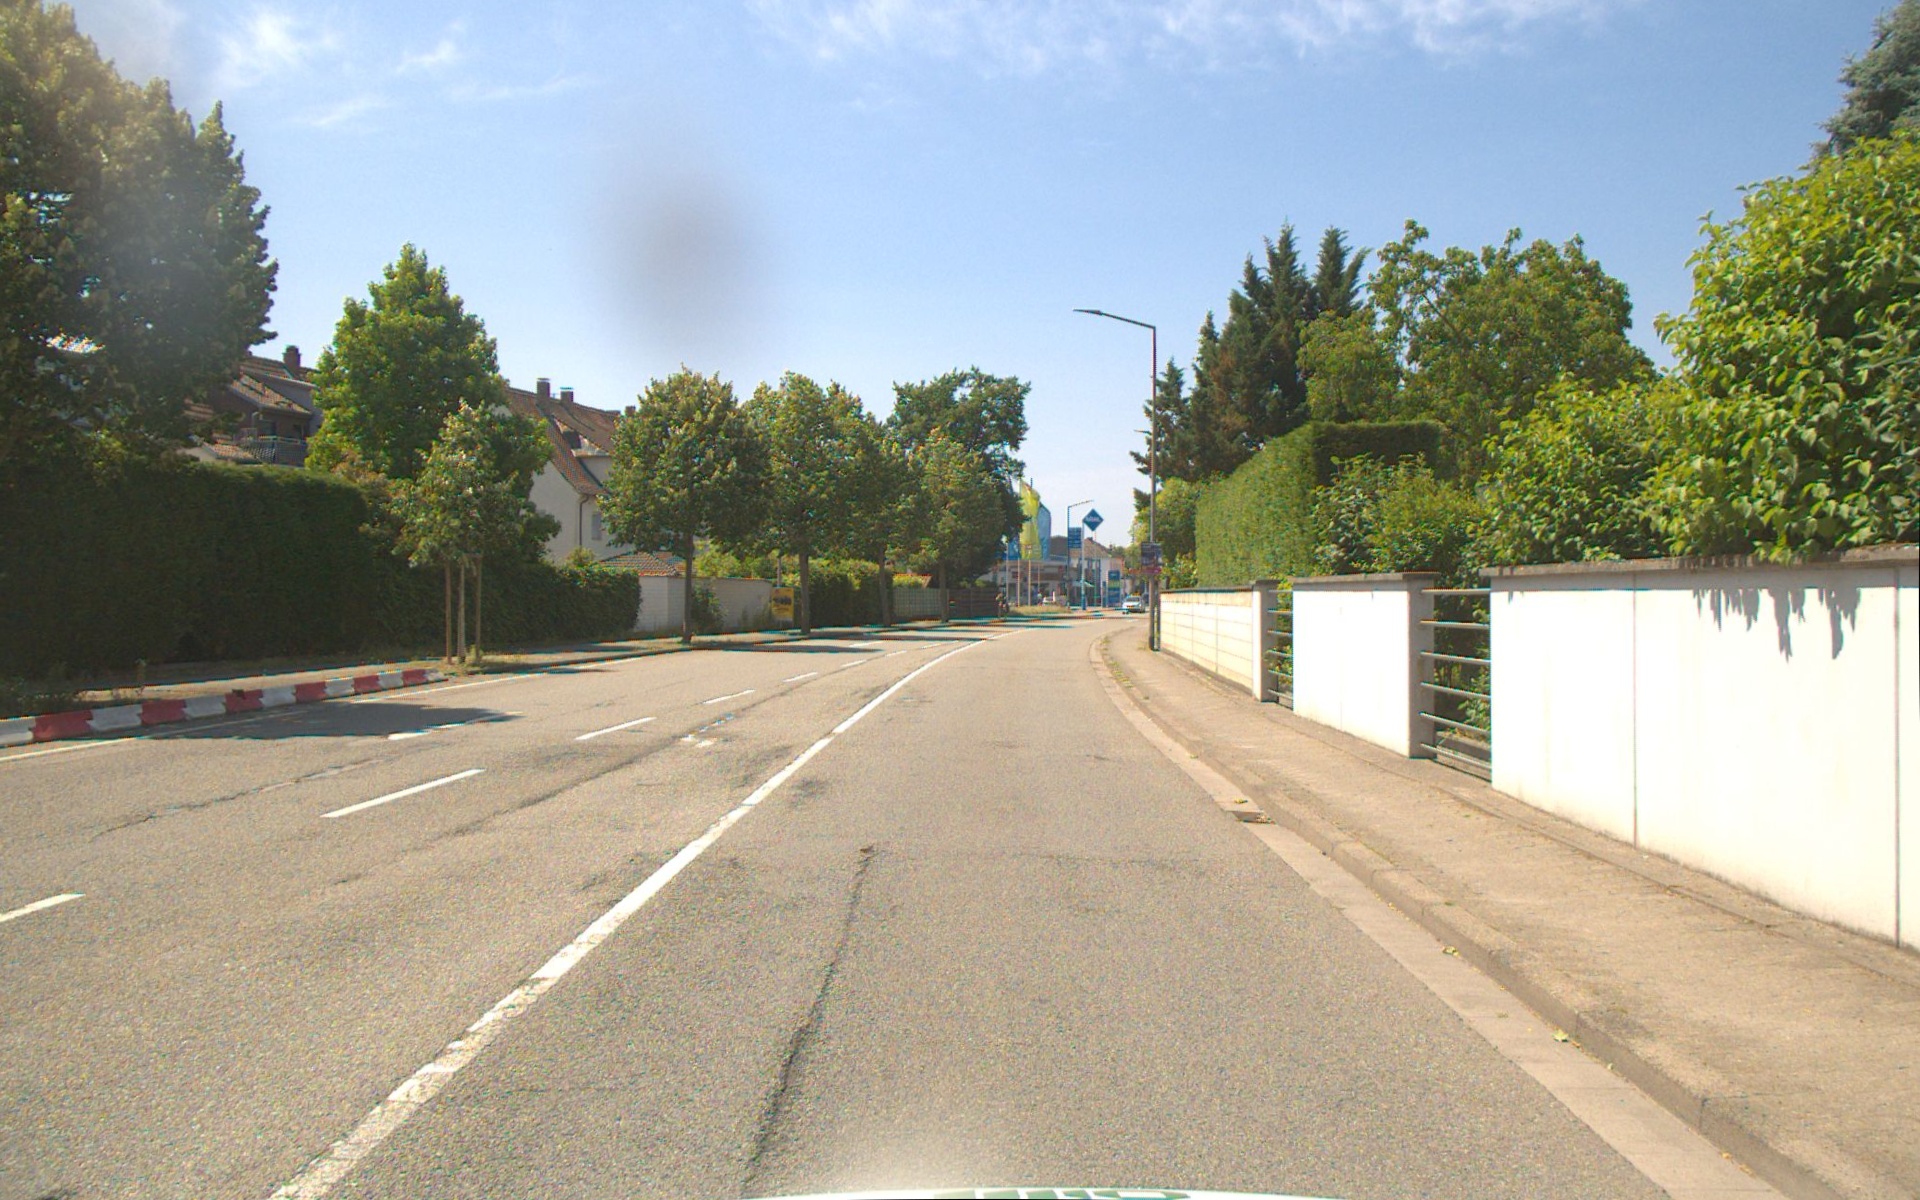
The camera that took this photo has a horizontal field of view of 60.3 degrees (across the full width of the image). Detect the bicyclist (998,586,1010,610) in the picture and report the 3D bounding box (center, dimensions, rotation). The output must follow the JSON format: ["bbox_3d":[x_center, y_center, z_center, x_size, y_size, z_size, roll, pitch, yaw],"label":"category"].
[{"bbox_3d":[2.580,-0.115,97.884,0.615,1.433,0.677,0,0,10],"label":"bicyclist"}]

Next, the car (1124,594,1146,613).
[{"bbox_3d":[14.663,0.295,138.805,1.577,1.508,3.710,0,0,10],"label":"car"}]

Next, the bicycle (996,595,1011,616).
[{"bbox_3d":[2.587,0.324,97.919,0.618,1.201,1.817,0,0,10],"label":"bicycle"}]

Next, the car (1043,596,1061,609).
[{"bbox_3d":[10.284,0.266,185.263,1.582,1.445,3.715,-1,0,10],"label":"car"}]
